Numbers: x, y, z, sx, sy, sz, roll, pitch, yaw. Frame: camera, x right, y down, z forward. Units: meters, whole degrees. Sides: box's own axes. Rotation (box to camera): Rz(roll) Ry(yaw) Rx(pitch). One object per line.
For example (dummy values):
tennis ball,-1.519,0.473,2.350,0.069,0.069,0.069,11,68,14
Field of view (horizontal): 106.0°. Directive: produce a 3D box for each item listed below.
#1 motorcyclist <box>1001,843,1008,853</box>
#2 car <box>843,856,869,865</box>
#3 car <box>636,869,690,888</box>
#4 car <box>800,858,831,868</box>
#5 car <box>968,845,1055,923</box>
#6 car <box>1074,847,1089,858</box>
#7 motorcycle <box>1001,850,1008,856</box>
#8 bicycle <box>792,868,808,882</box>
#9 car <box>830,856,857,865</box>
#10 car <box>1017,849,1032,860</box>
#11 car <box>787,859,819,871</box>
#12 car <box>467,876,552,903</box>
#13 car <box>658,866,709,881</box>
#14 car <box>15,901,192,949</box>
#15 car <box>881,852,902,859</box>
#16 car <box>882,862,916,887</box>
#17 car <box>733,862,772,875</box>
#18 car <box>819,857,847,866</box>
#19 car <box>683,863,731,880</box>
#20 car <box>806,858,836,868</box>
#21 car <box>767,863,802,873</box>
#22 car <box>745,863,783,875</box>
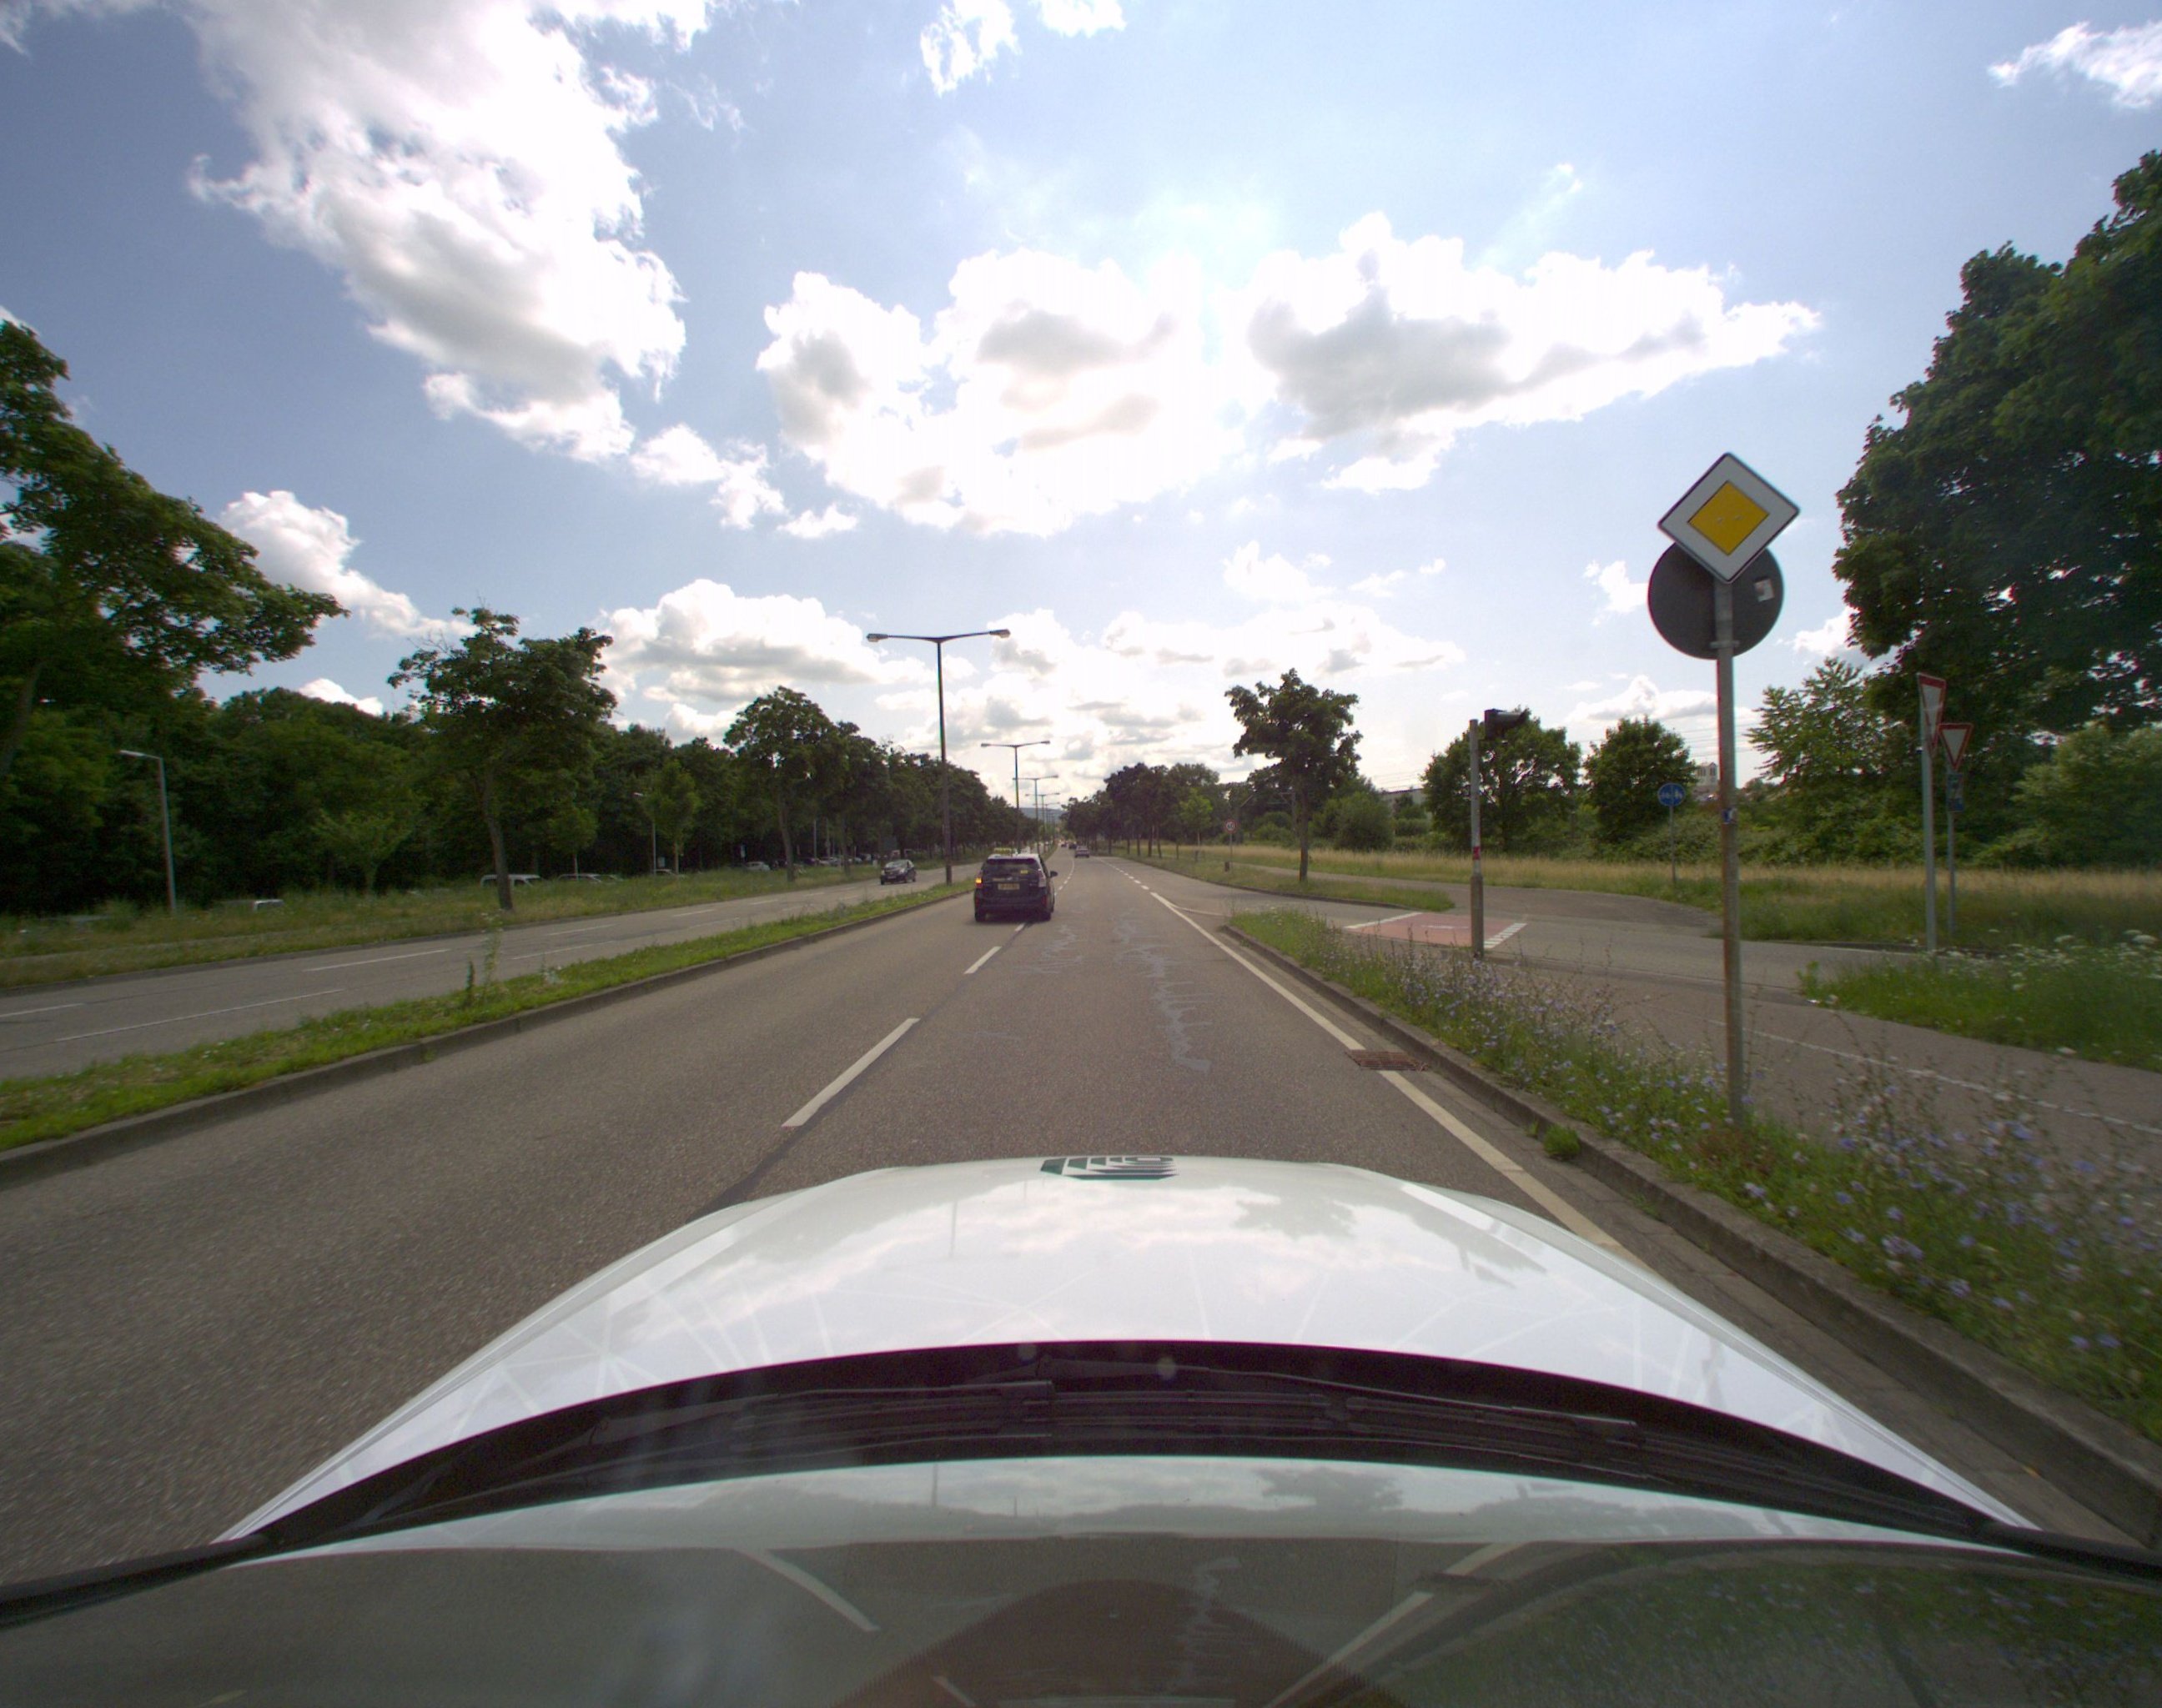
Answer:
motorcyclist,-11.348,-0.877,120.799,0.824,1.414,1.328,-1,1,0
car,-37.837,1.088,136.838,3.769,1.387,1.787,0,1,3
car,-36.504,2.156,71.145,3.771,1.508,1.786,-1,1,1
car,-38.596,1.344,118.339,3.769,1.387,1.787,0,1,3
car,-1.590,0.636,19.957,1.774,1.683,4.000,-1,1,0
car,0.051,-0.209,116.319,1.988,1.508,3.997,-1,1,-2
motorcycle,-11.370,-0.179,120.611,0.749,0.772,2.671,-1,1,0
bicycle,-22.292,1.647,64.594,0.565,0.978,1.917,-2,0,0
car,-38.253,1.095,131.141,3.769,1.387,1.787,0,1,3
car,-8.144,-0.003,117.268,1.805,1.398,4.733,-2,1,0
car,-38.435,1.513,112.694,3.769,1.568,1.787,0,1,3
car,-37.098,2.291,52.928,3.977,1.625,1.998,-1,1,-3
car,-36.399,1.772,74.596,3.771,1.267,1.786,-1,1,1
car,-36.285,2.619,30.317,3.977,1.519,1.998,-1,1,-3
car,-39.630,0.315,170.237,3.769,1.387,1.787,0,1,3
car,-11.157,1.218,50.063,1.700,1.427,3.664,-2,0,-9
car,-38.230,1.664,94.841,3.774,1.428,1.785,-1,1,-1
car,-38.955,1.127,128.062,3.769,1.387,1.787,0,1,3
car,-36.196,1.659,78.890,3.771,1.508,1.786,-1,1,1
car,-38.673,1.339,121.088,3.769,1.387,1.787,0,1,3
car,-38.249,1.829,105.137,3.774,1.247,1.785,-1,1,-1
car,-38.070,1.765,97.895,3.774,1.386,1.785,-1,1,-1
